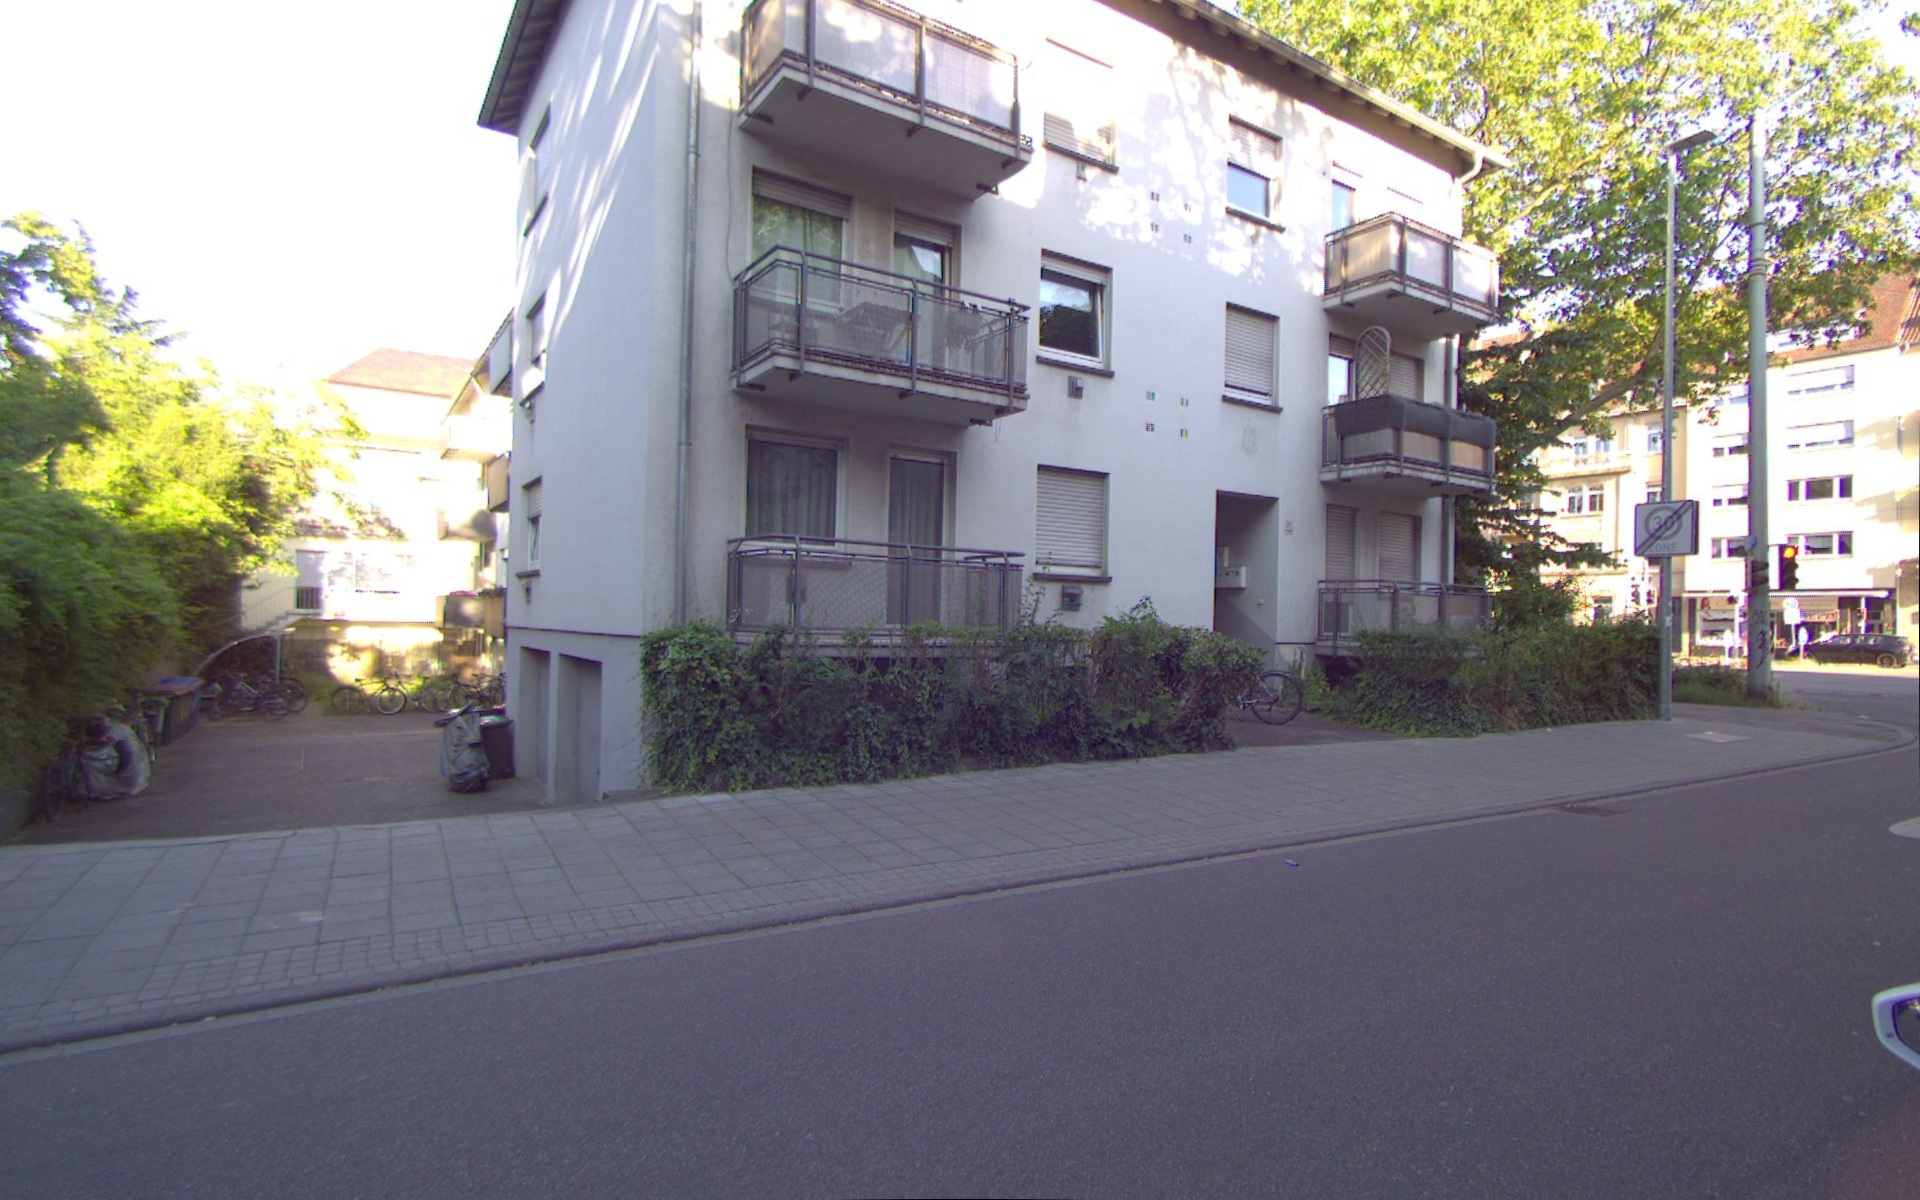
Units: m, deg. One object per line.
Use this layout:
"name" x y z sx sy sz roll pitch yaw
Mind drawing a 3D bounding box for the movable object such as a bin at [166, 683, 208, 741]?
"movable object such as a bin" -15.935 2.291 20.725 0.606 1.129 0.795 1 -3 -33

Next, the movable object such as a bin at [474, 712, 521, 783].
"movable object such as a bin" -7.406 2.351 16.091 0.606 1.051 0.534 1 -3 -34

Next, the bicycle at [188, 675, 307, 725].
"bicycle" -17.340 2.419 24.527 2.268 1.148 0.689 2 -4 -30

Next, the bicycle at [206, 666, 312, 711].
"bicycle" -19.377 2.442 27.817 2.311 1.192 0.689 2 -4 -30

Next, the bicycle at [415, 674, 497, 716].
"bicycle" -13.916 2.609 27.746 1.982 1.085 0.561 2 -4 -30

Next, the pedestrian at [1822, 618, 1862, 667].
"pedestrian" 45.947 2.211 52.333 1.049 2.497 1.338 1 0 -34

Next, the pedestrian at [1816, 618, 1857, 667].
"pedestrian" 45.086 2.172 51.665 1.049 2.497 1.338 1 0 -34

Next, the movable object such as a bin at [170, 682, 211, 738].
"movable object such as a bin" -16.367 2.321 21.387 0.606 1.129 0.795 1 -3 -33

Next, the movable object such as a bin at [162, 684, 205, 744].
"movable object such as a bin" -15.494 2.258 20.055 0.606 1.129 0.795 1 -3 -33

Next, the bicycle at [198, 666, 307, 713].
"bicycle" -19.030 2.394 27.092 2.311 1.192 0.689 2 -4 -30

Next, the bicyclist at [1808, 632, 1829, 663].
"bicyclist" 40.193 2.225 47.026 0.630 1.445 0.639 1 -1 -35

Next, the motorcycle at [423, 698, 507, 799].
"motorcycle" -7.409 2.175 15.008 0.739 1.313 1.563 2 -2 -41

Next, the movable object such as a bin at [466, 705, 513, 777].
"movable object such as a bin" -7.921 2.353 16.903 0.606 1.129 0.795 1 -3 -33

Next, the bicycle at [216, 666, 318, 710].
"bicycle" -19.647 2.491 28.542 2.311 1.192 0.689 2 -4 -30

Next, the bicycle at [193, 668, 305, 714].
"bicycle" -18.605 2.363 26.346 2.311 1.148 0.689 2 -4 -30

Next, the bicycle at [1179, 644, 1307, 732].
"bicycle" 3.823 1.166 13.572 1.590 1.022 0.517 3 1 20

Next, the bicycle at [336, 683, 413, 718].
"bicycle" -15.570 2.662 26.746 1.734 0.890 0.561 2 -4 -30

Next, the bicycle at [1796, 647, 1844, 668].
"bicycle" 40.203 2.673 46.991 0.630 0.888 1.607 1 -1 -34

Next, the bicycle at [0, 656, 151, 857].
"bicycle" -10.607 1.680 11.981 0.961 1.917 4.156 1 -2 -32

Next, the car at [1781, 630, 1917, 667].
"car" 36.862 1.979 41.737 1.647 1.378 4.007 1 -1 -35
